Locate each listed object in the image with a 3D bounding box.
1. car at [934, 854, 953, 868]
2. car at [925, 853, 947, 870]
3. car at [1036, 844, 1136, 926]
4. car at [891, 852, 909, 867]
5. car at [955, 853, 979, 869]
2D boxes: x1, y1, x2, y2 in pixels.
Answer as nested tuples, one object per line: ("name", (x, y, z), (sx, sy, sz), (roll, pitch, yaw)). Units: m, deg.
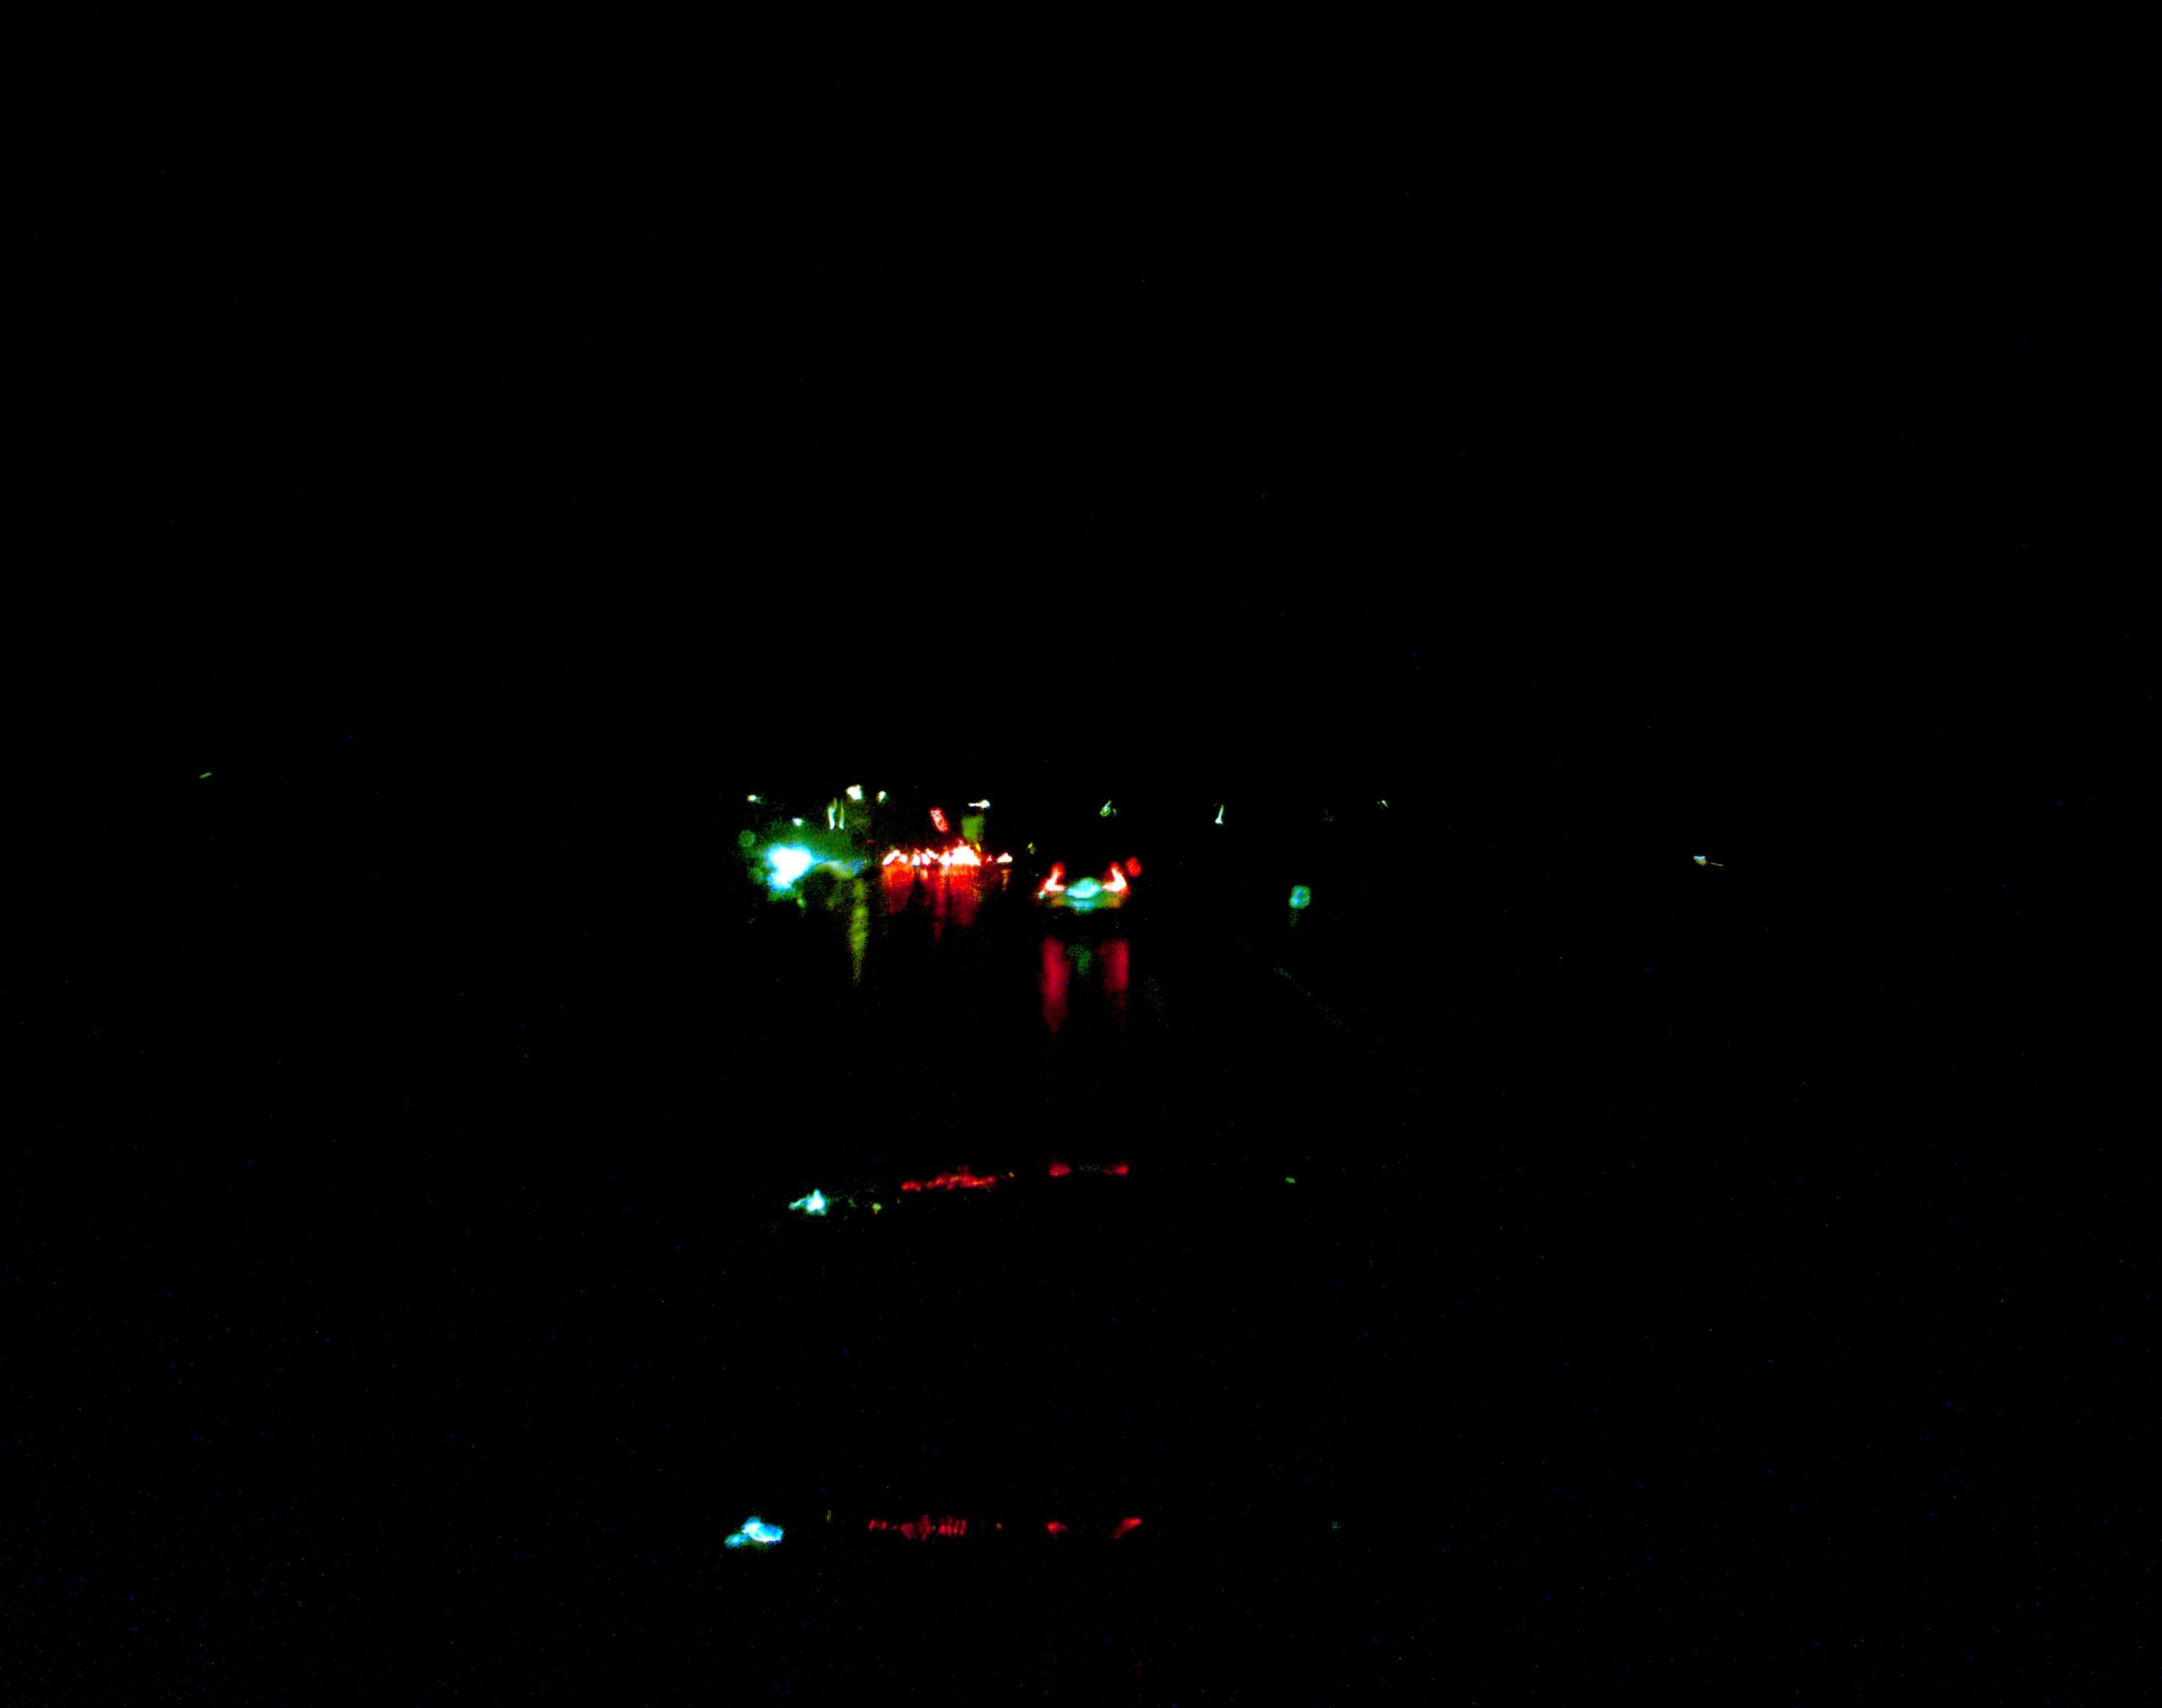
("car", (-17.432, 0.907, 102.861), (1.996, 1.628, 4.961), (-3, 1, -14))
("car", (-15.665, 0.749, 87.959), (1.996, 1.628, 4.961), (-3, 1, -14))
("car", (0.201, 0.673, 18.753), (1.986, 1.628, 4.986), (0, -1, 2))
("car", (-21.800, 0.613, 98.180), (1.996, 1.628, 4.961), (-3, 1, -14))
("car", (-12.330, 0.733, 87.992), (1.996, 1.628, 4.961), (-3, 1, -14))
